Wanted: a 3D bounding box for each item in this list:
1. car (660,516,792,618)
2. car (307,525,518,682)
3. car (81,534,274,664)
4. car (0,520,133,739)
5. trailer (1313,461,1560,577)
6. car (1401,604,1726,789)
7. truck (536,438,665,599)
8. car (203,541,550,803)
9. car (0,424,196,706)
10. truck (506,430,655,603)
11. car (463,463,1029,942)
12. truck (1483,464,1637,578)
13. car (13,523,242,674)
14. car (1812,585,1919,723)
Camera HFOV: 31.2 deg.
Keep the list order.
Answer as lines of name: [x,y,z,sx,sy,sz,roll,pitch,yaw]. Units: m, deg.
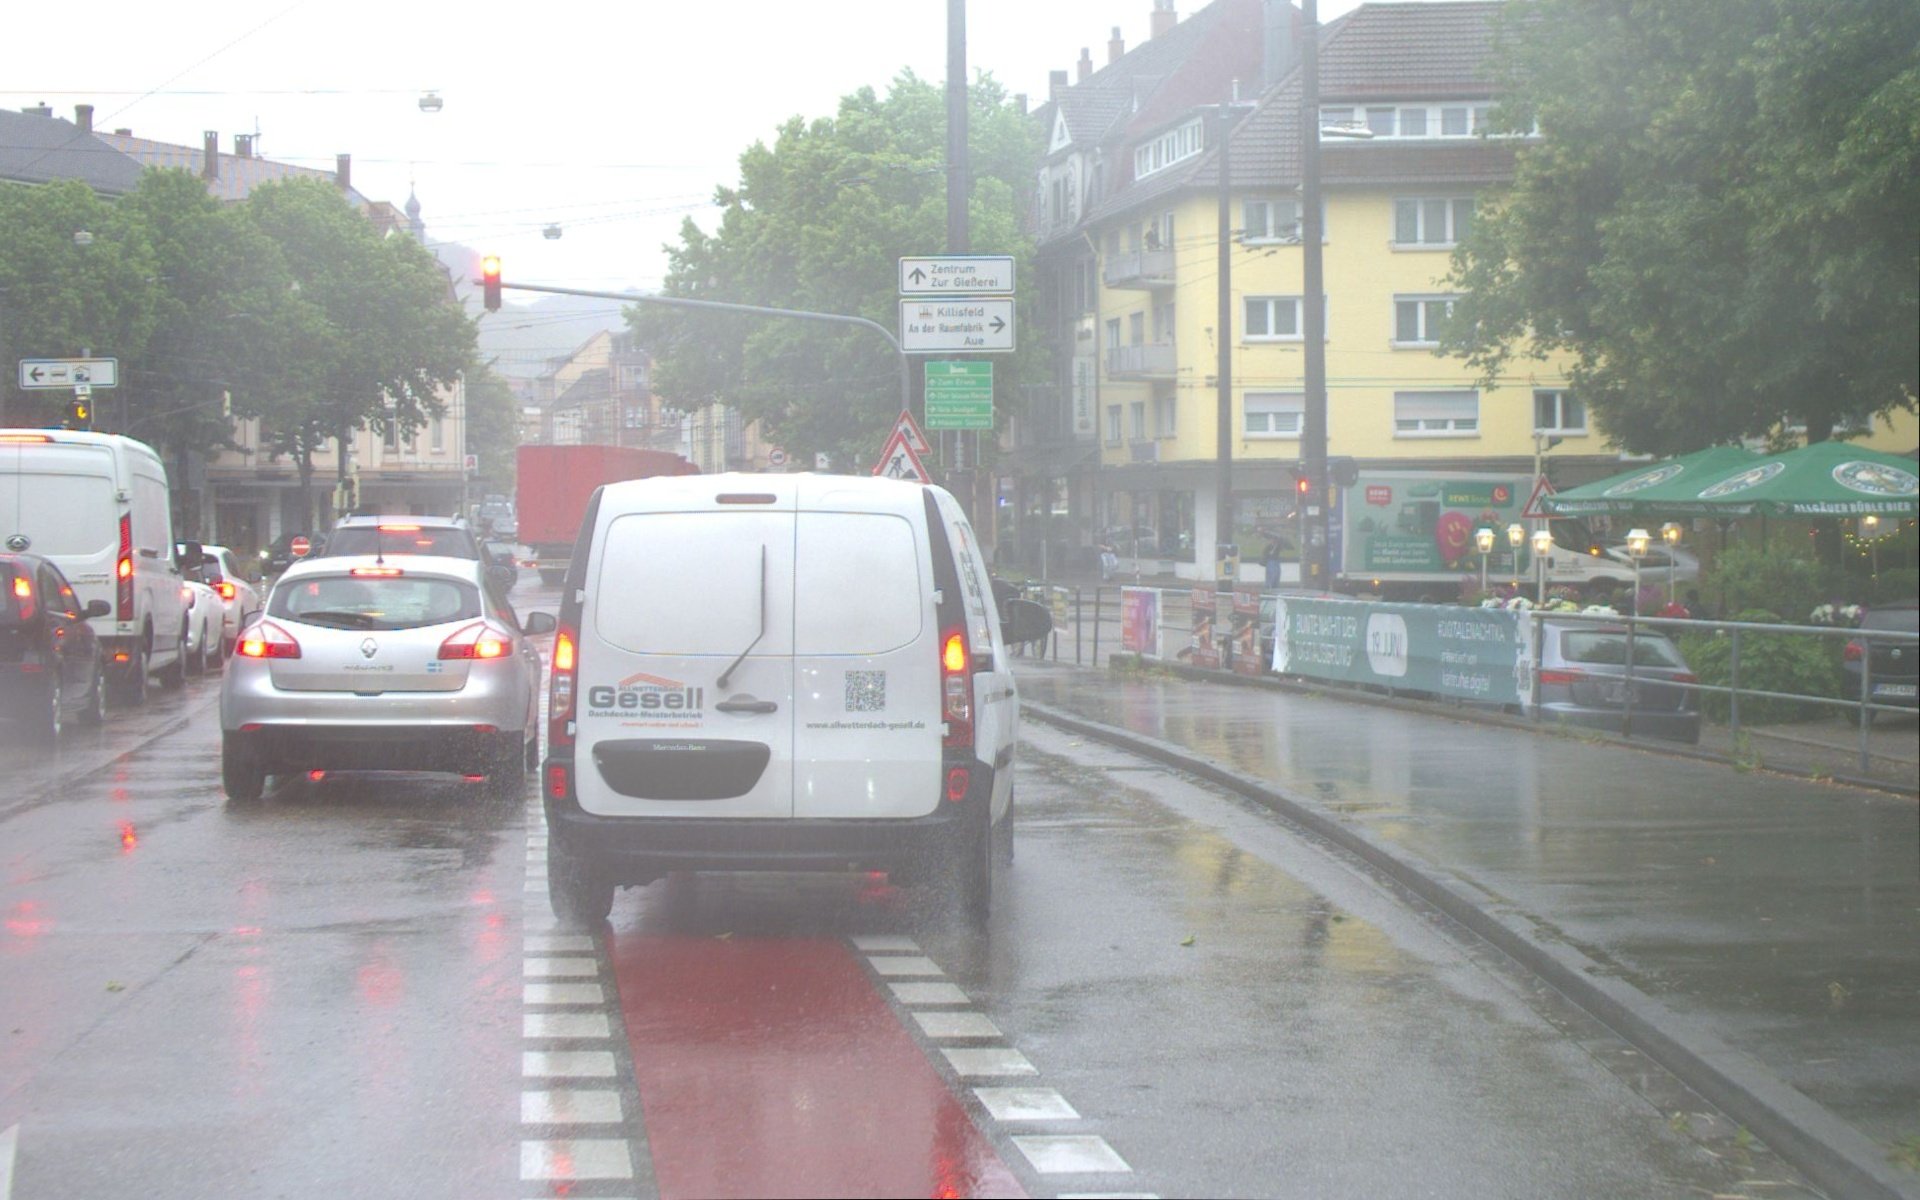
car: [-3.654,-0.534,54.326,1.993,1.536,4.001,0,1,-3]
car: [-5.407,0.029,34.315,1.760,1.464,3.534,1,0,-4]
car: [-10.328,-0.039,45.674,1.993,1.591,4.613,1,0,-7]
car: [-7.743,0.170,26.807,1.993,1.573,4.293,1,0,-7]
trailer: [9.813,-1.651,70.955,4.652,2.309,2.000,0,0,-9]
car: [5.746,0.870,33.248,1.822,1.485,4.354,-2,2,-8]
truck: [-11.383,-2.630,109.467,3.278,4.882,7.182,-1,2,0]
car: [-3.506,0.402,21.207,1.760,1.464,3.534,1,0,-4]
car: [-8.449,-0.341,32.278,1.993,2.434,4.613,1,0,-7]
truck: [-11.373,-2.584,104.036,3.278,4.882,11.402,-1,2,-1]
car: [-0.768,0.379,14.605,1.959,1.771,3.569,0,0,4]
truck: [12.431,-1.629,71.330,2.639,2.291,2.000,0,0,-9]
car: [-9.509,-0.035,39.597,1.993,1.591,4.613,1,0,-7]
car: [11.978,0.591,41.188,1.889,1.473,3.991,0,2,40]
